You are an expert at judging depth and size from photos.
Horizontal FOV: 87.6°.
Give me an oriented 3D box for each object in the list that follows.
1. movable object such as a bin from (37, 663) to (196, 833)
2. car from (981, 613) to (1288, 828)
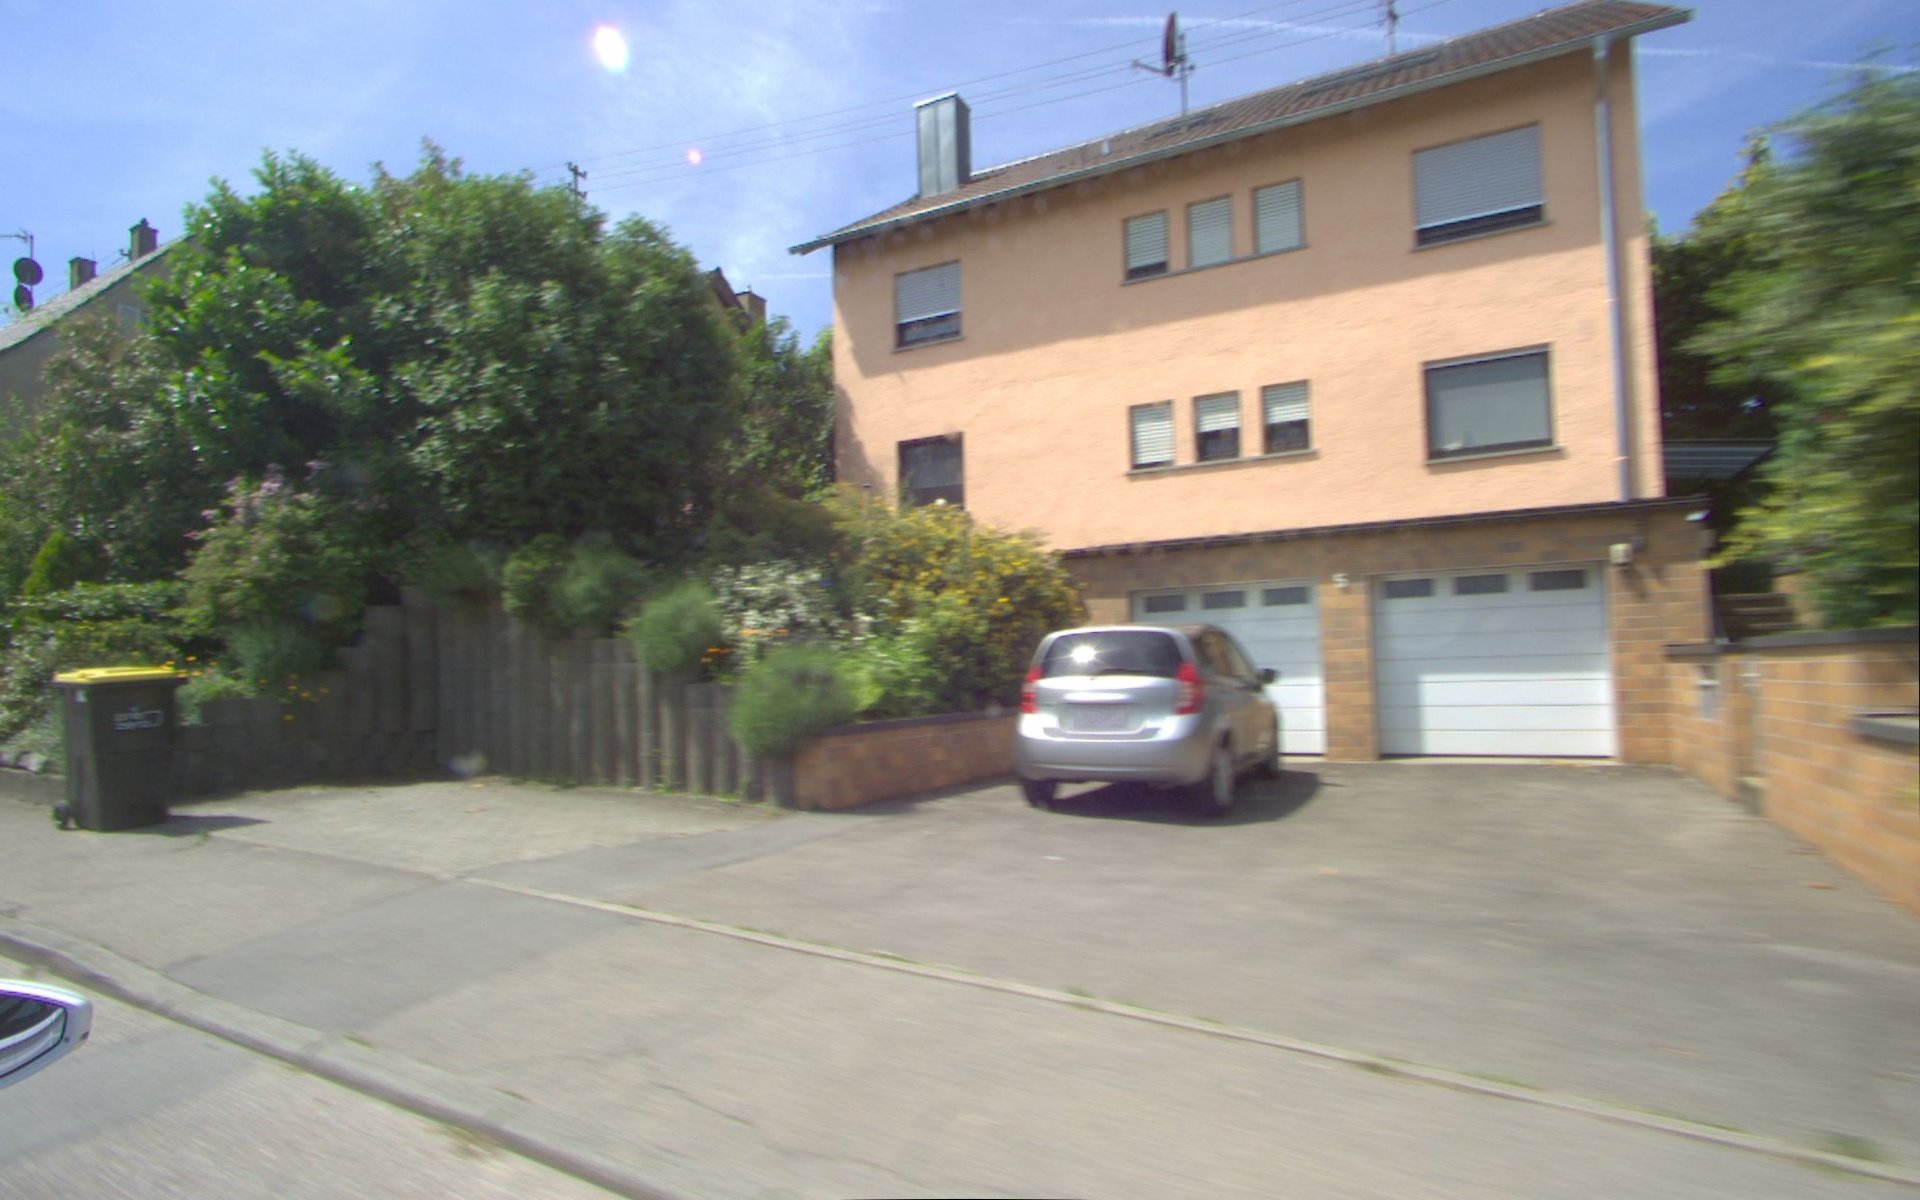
[{"bbox_3d":[-5.887,0.992,6.991,0.906,1.072,0.587,-1,-1,32],"label":"movable object such as a bin"},{"bbox_3d":[1.787,0.975,9.134,1.808,1.517,3.645,0,-4,26],"label":"car"}]
